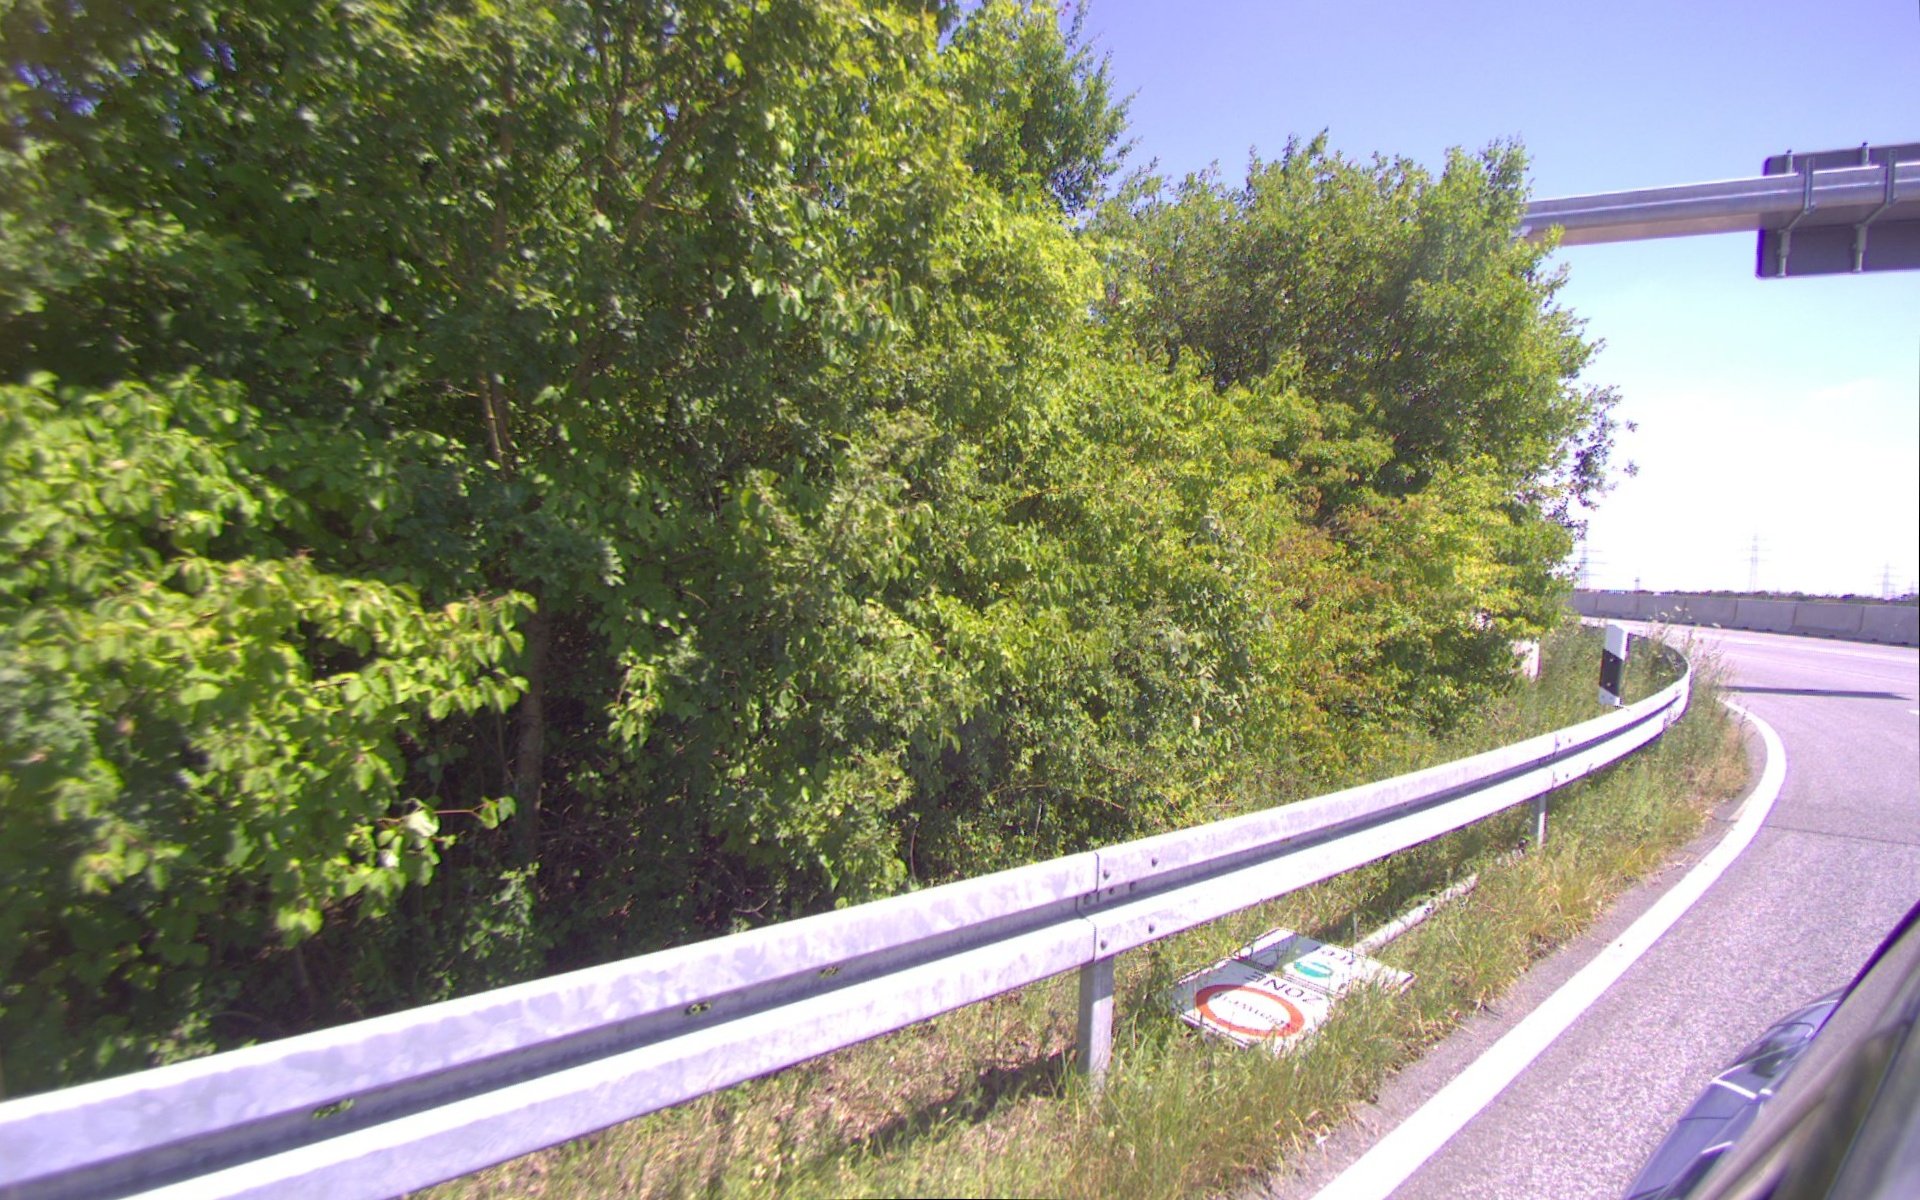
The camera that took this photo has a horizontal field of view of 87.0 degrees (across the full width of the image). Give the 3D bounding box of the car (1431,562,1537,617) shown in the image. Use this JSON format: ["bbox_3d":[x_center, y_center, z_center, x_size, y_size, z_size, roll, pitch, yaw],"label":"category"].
[{"bbox_3d":[21.653,-0.441,42.127,1.997,2.111,5.861,1,1,7],"label":"car"}]
